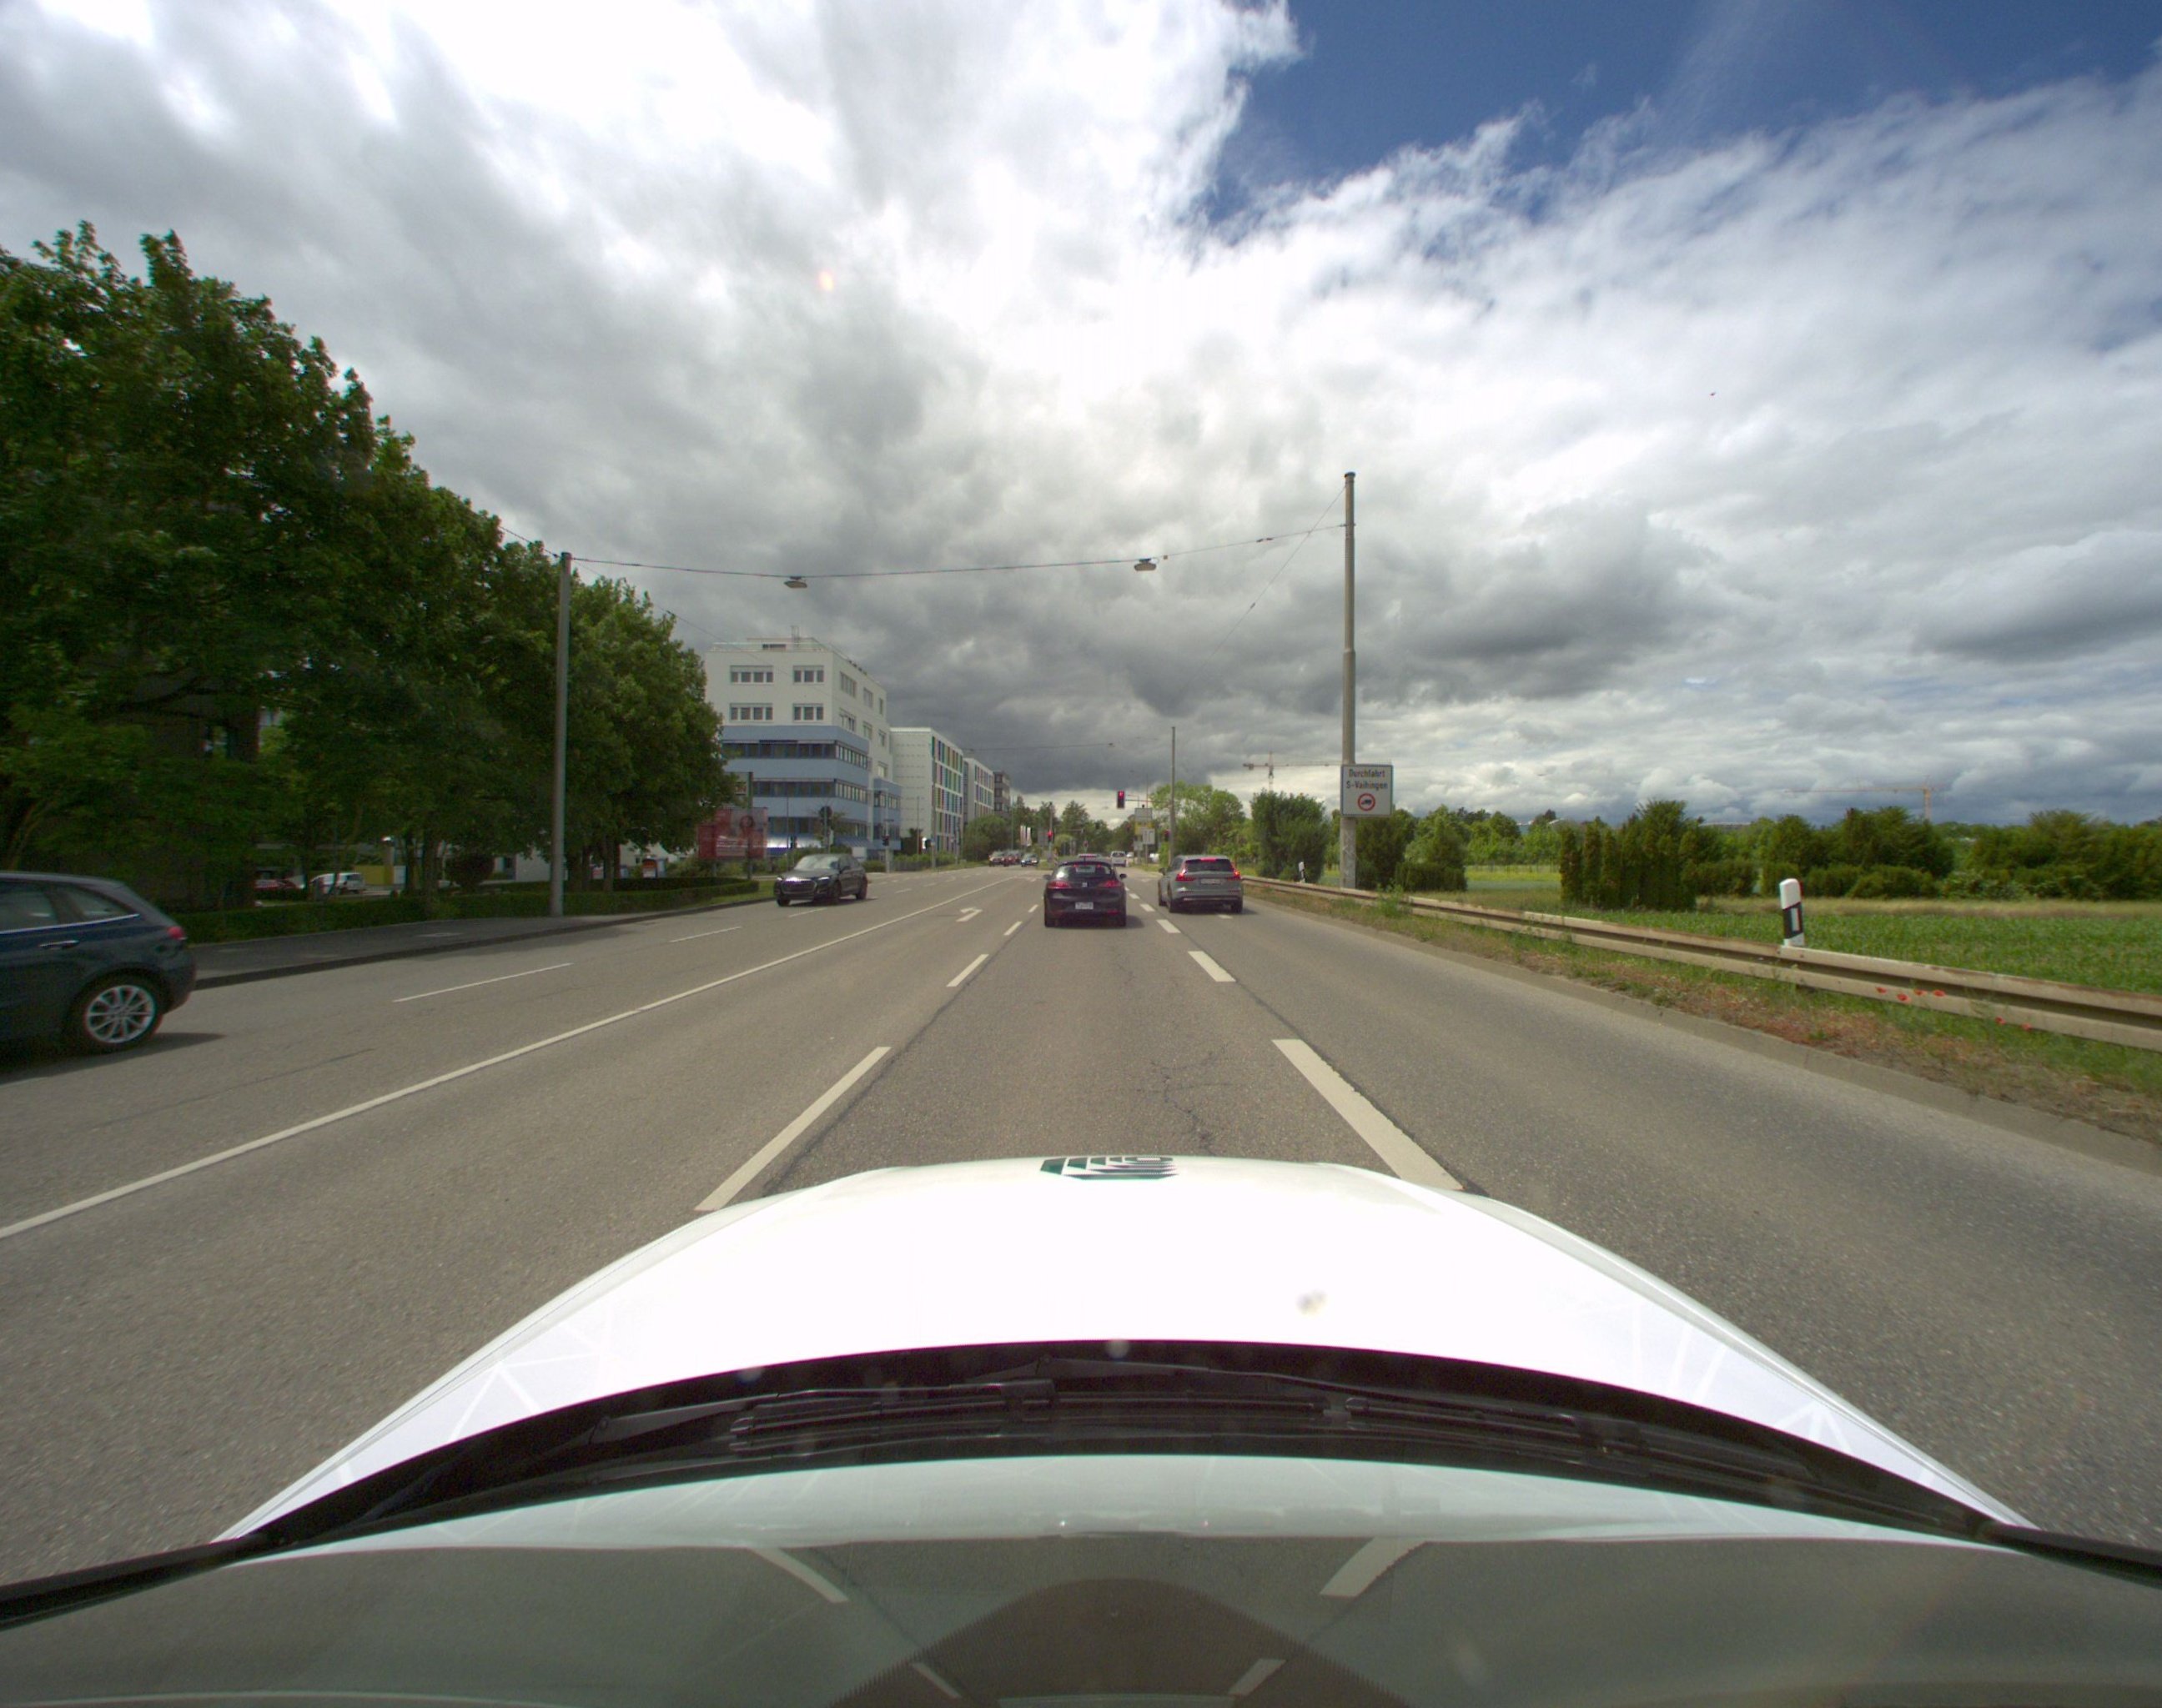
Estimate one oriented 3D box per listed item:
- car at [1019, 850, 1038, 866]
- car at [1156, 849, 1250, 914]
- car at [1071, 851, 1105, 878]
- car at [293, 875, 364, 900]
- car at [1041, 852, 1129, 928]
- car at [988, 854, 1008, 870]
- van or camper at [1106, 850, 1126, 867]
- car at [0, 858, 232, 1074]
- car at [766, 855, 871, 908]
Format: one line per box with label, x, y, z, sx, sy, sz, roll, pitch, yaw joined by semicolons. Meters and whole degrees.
car;-5.389;0.414;84.667;1.663;1.524;4.008;-2;1;0
car;3.163;0.693;21.996;1.951;1.525;4.341;-1;-1;1
car;0.392;0.604;50.644;1.977;1.590;4.225;1;0;-1
car;-60.621;2.692;65.651;3.970;1.980;2.002;0;-1;3
car;0.188;0.736;18.315;1.740;1.484;4.003;1;-1;3
car;-8.743;0.796;86.084;1.745;1.631;3.999;-2;0;0
van or camper;4.171;0.569;97.094;1.896;1.926;3.992;-1;-2;-5
car;-8.849;0.842;5.437;1.790;1.585;4.313;-1;0;0
car;-8.520;0.847;26.921;1.860;1.615;4.573;0;-1;2
